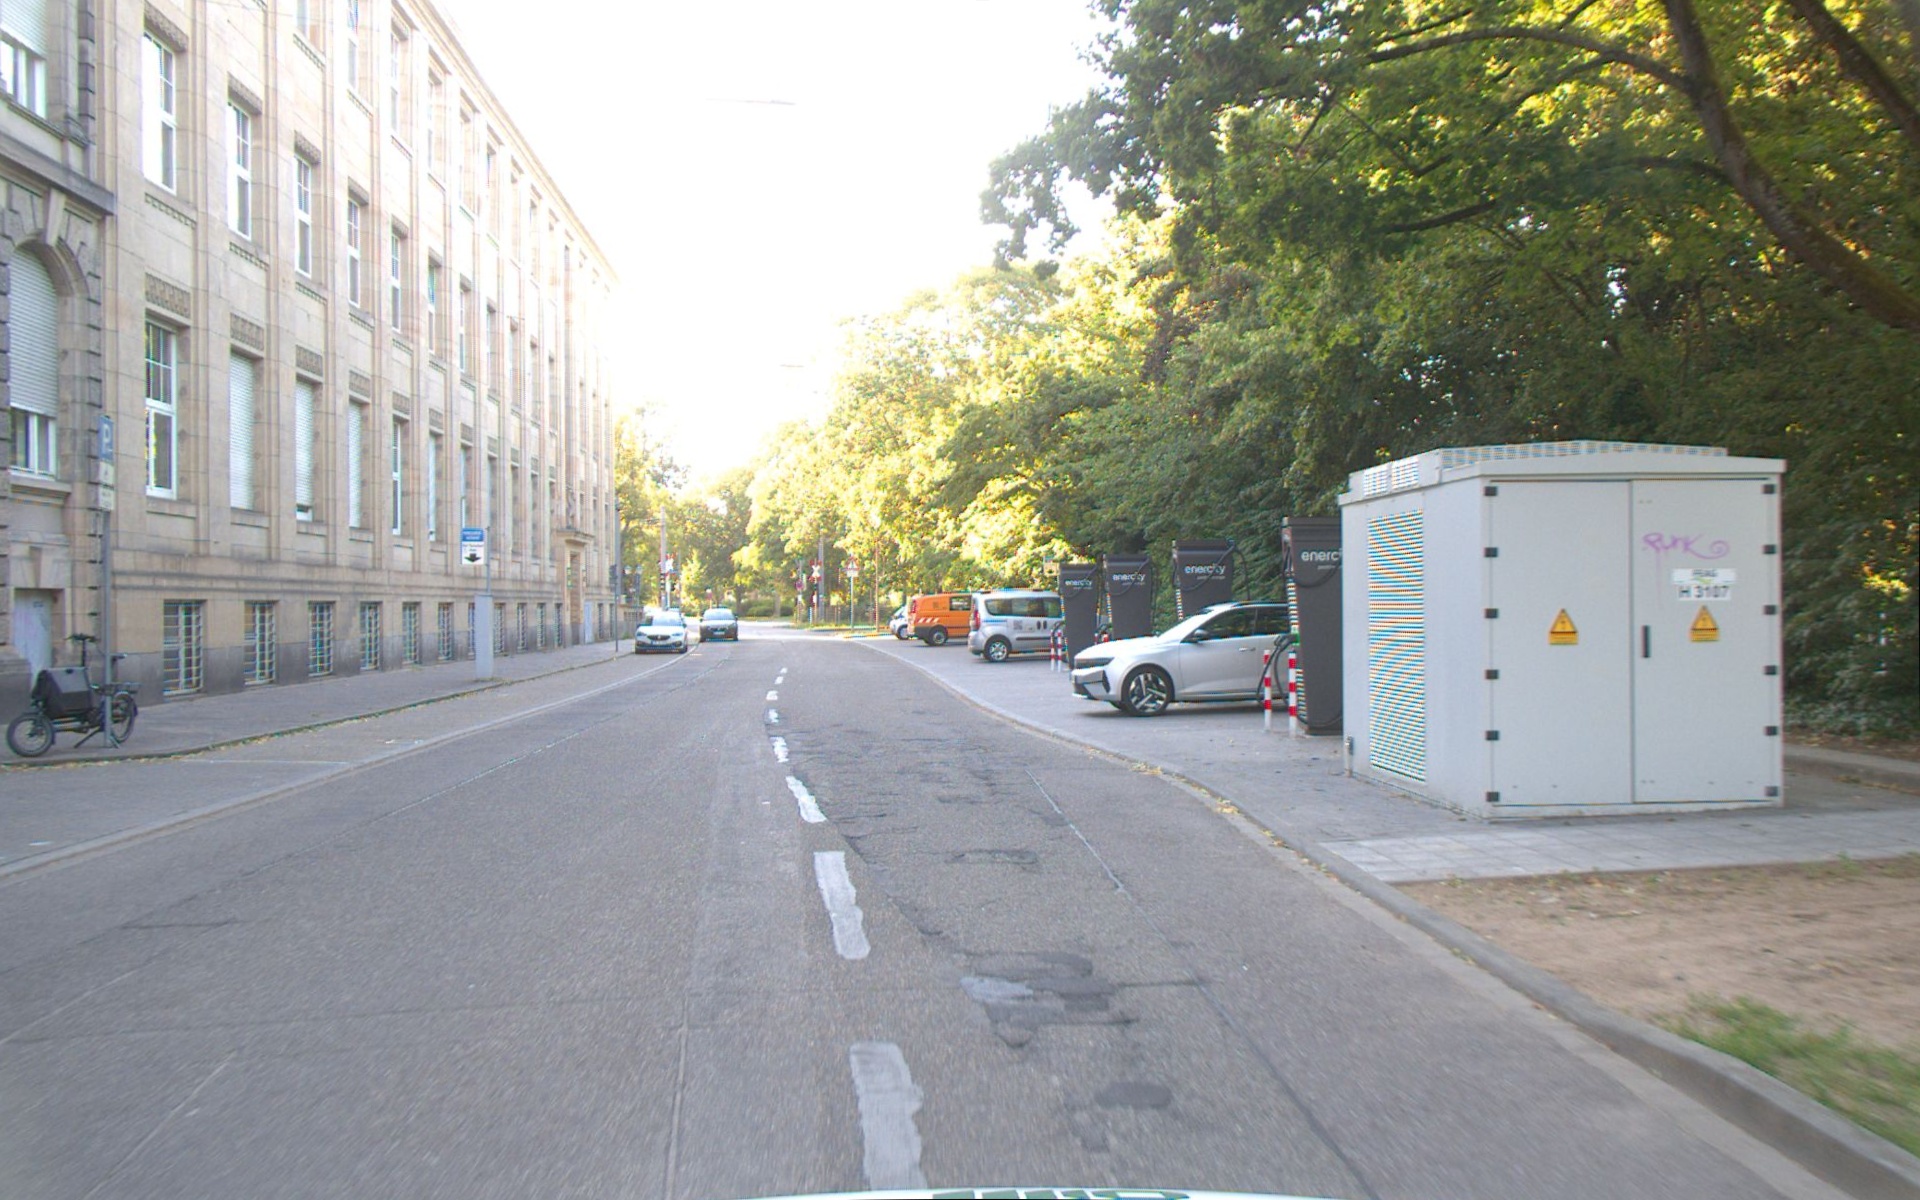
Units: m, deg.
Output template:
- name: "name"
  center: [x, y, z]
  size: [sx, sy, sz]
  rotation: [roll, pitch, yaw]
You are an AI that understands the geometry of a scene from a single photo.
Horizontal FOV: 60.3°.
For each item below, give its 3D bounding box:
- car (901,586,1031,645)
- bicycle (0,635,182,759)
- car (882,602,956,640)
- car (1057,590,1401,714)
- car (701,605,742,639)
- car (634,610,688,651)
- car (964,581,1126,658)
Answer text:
- name: "car"
  center: [0.212, 0.600, 64.179]
  size: [4.733, 2.049, 1.797]
  rotation: [-3, 0, -12]
- name: "bicycle"
  center: [-8.695, 0.932, 16.589]
  size: [0.835, 1.121, 1.982]
  rotation: [1, 0, -1]
- name: "car"
  center: [-1.858, 0.936, 74.501]
  size: [3.088, 1.529, 1.536]
  rotation: [-3, 0, -12]
- name: "car"
  center: [3.647, 0.685, 22.838]
  size: [4.355, 1.495, 1.780]
  rotation: [-2, 0, -6]
- name: "car"
  center: [-11.088, 1.013, 77.094]
  size: [1.843, 1.492, 4.366]
  rotation: [-1, 0, -7]
- name: "car"
  center: [-10.811, 1.078, 59.994]
  size: [1.695, 1.422, 4.365]
  rotation: [0, 0, -7]
- name: "car"
  center: [2.267, 0.531, 44.904]
  size: [4.145, 1.892, 1.998]
  rotation: [-2, -1, -4]
